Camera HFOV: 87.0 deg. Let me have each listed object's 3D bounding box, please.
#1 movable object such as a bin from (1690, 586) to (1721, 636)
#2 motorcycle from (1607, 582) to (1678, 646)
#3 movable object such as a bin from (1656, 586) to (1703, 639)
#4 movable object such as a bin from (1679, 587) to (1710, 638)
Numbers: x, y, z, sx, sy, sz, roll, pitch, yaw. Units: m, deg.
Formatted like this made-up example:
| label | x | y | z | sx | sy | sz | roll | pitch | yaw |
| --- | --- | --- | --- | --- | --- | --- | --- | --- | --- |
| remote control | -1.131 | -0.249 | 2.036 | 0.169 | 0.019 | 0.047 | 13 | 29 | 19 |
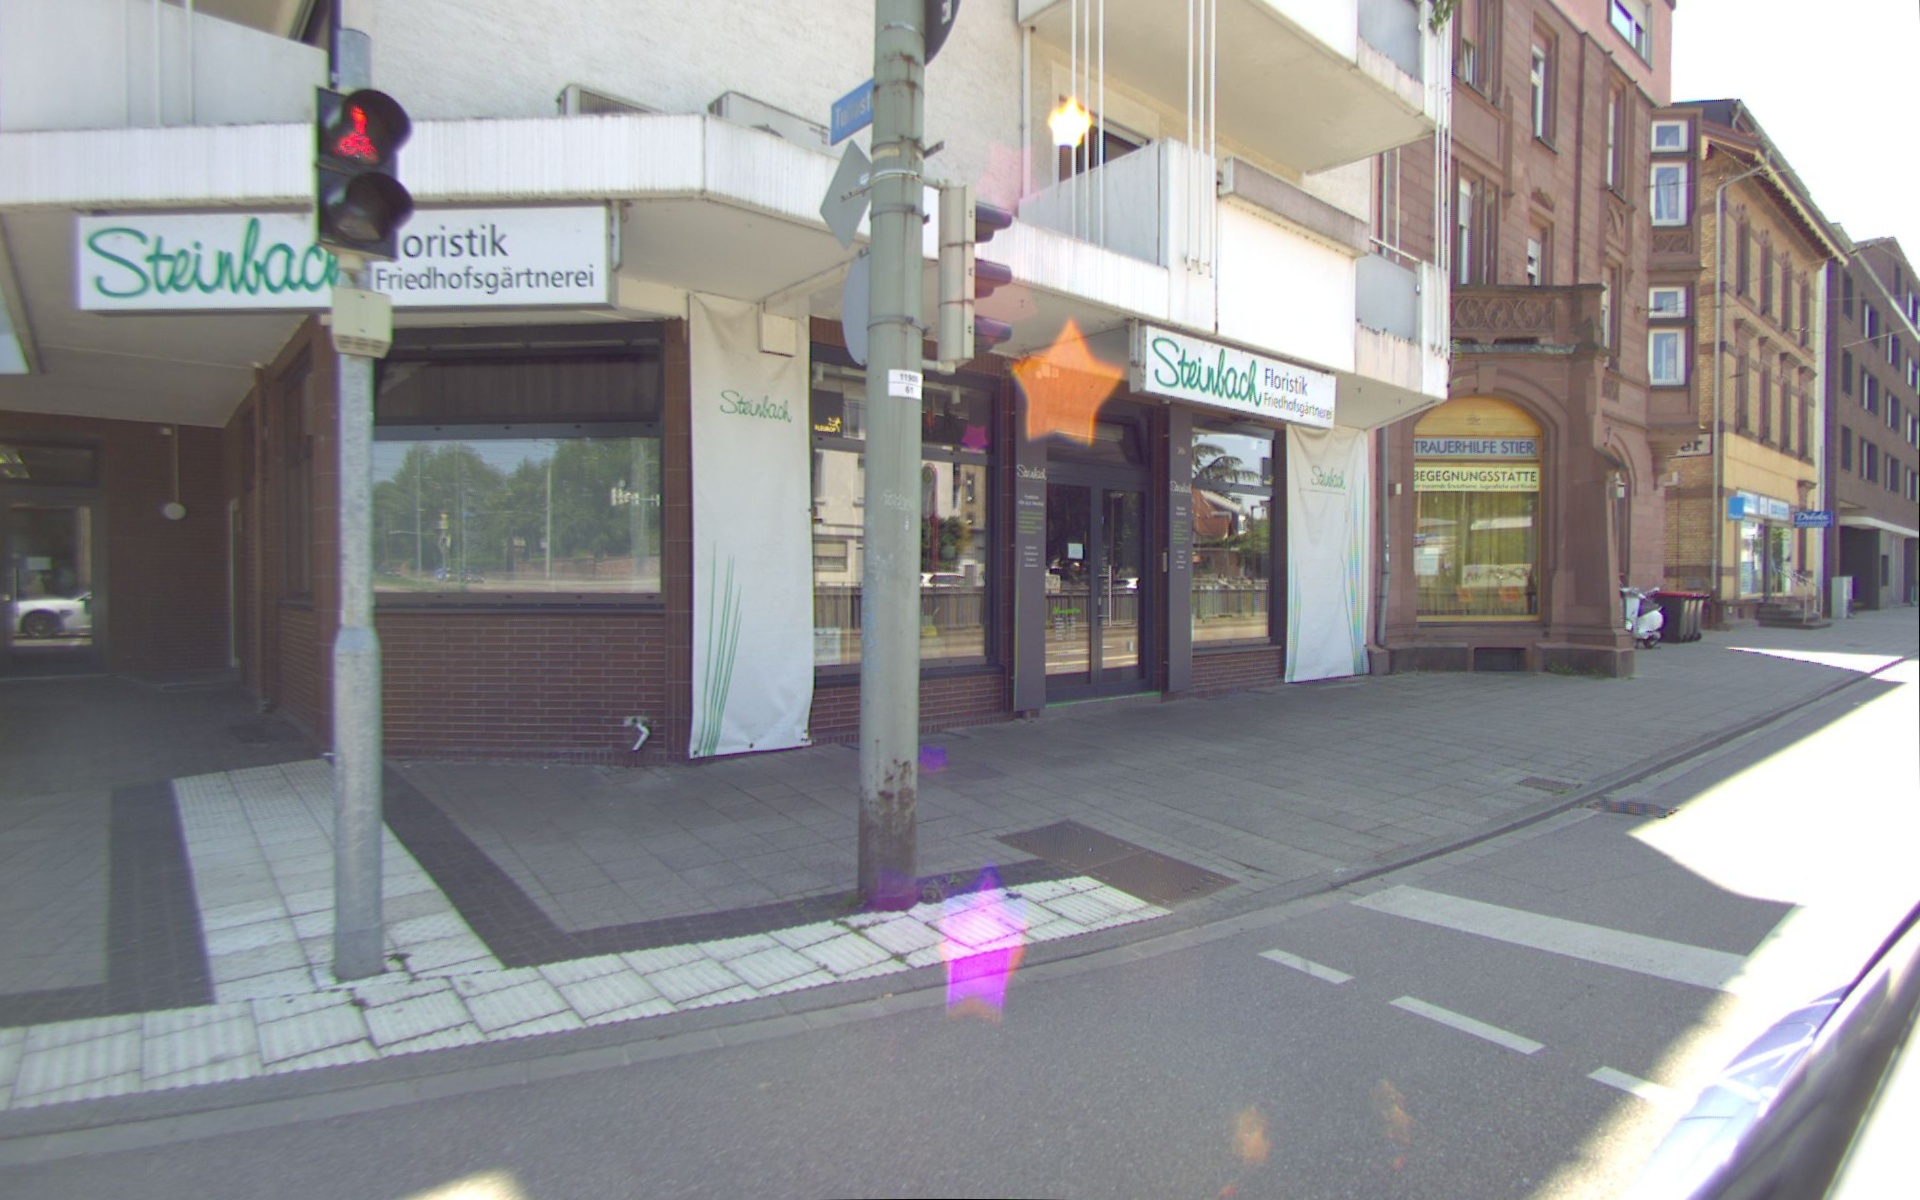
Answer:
| label | x | y | z | sx | sy | sz | roll | pitch | yaw |
| --- | --- | --- | --- | --- | --- | --- | --- | --- | --- |
| movable object such as a bin | 16.228 | 0.235 | 22.022 | 0.646 | 1.061 | 0.376 | -1 | 3 | -41 |
| motorcycle | 12.937 | 0.243 | 19.164 | 1.845 | 1.163 | 0.528 | -1 | 1 | -37 |
| movable object such as a bin | 15.164 | 0.246 | 21.334 | 0.549 | 1.061 | 0.649 | -1 | 3 | -41 |
| movable object such as a bin | 15.713 | 0.255 | 21.644 | 0.549 | 1.061 | 0.376 | -1 | 3 | -41 |
